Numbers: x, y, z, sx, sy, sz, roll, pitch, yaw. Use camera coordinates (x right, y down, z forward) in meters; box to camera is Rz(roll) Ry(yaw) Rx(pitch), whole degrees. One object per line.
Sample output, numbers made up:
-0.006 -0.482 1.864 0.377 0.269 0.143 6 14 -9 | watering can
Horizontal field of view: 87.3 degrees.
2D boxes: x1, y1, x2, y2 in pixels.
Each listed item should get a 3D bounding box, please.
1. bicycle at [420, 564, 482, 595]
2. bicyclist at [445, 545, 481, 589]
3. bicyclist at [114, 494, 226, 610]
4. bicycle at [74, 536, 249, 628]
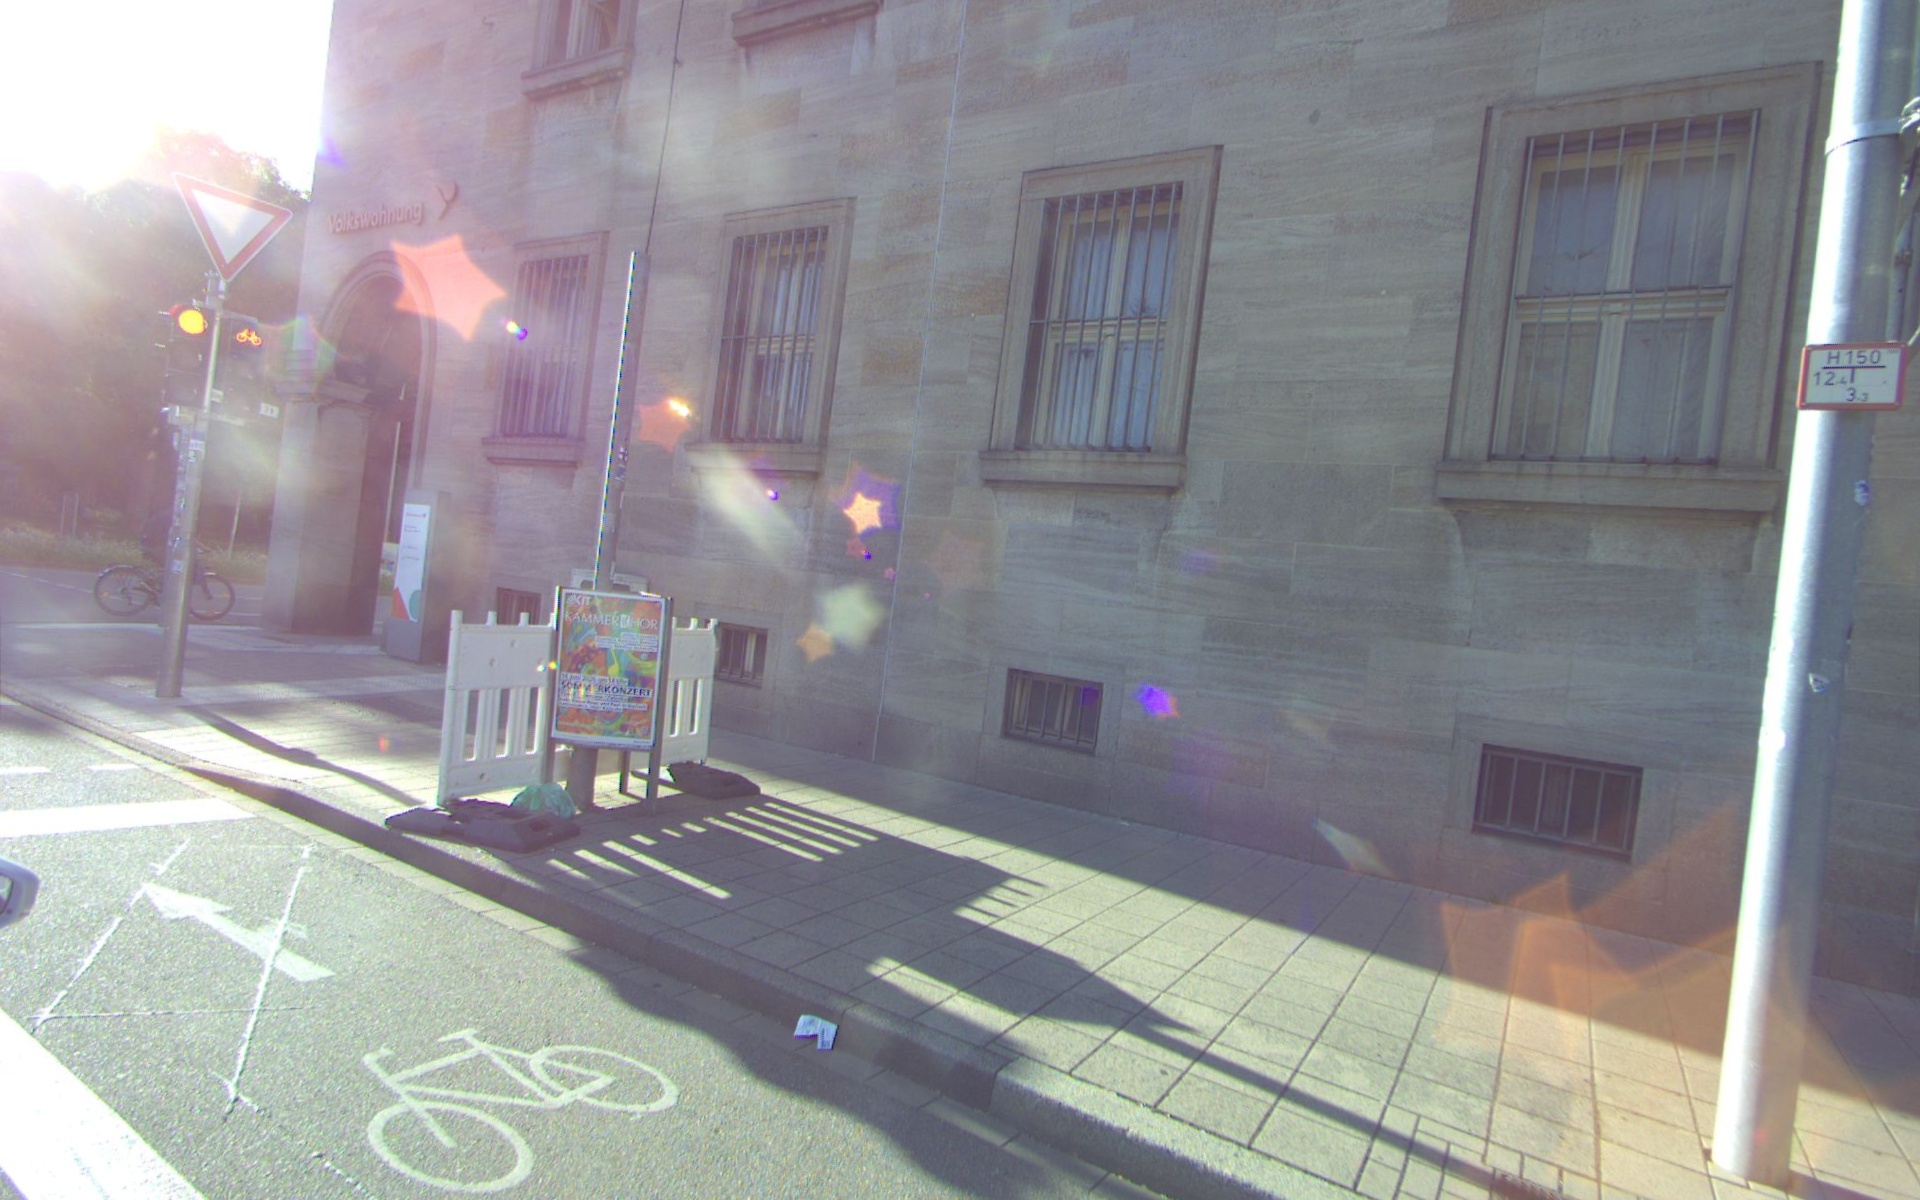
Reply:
-19.611 -0.778 38.807 0.565 0.944 2.068 7 -1 31 | bicycle
-19.333 -1.278 39.135 0.565 1.579 0.976 7 0 31 | bicyclist
-11.744 -0.700 14.973 0.754 1.531 1.002 9 1 35 | bicyclist
-11.825 -0.241 14.954 0.754 1.098 1.814 9 1 35 | bicycle
